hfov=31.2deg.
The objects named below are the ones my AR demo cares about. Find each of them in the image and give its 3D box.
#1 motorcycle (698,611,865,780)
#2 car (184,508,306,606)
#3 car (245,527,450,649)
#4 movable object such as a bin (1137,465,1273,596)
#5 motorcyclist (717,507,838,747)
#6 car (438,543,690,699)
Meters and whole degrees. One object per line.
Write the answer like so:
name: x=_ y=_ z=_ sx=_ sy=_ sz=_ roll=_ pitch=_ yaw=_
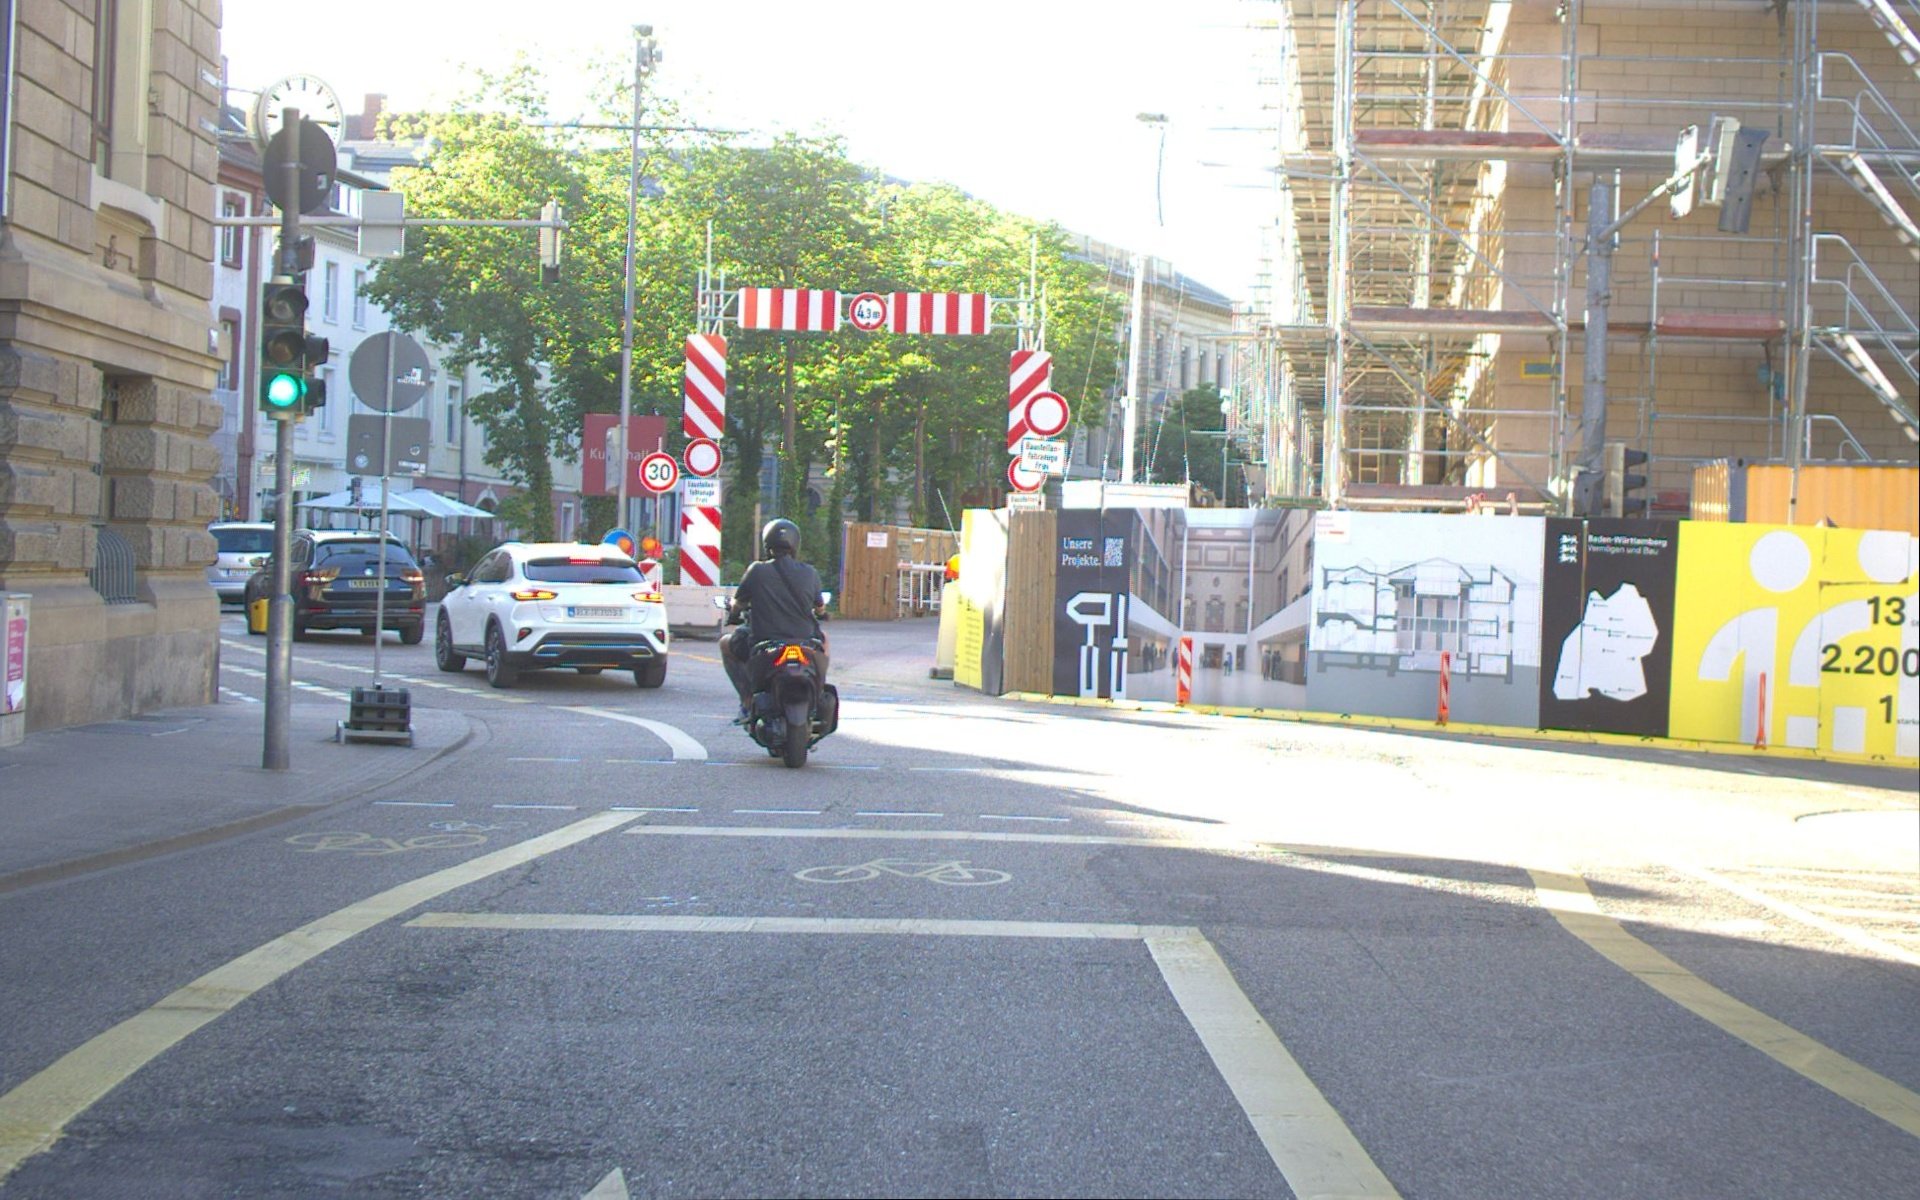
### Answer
motorcycle: x=-1.259 y=0.647 z=23.868 sx=0.796 sy=1.062 sz=1.726 roll=2 pitch=1 yaw=-14
car: x=-13.416 y=-0.819 z=64.686 sx=1.840 sy=1.707 sz=4.058 roll=2 pitch=1 yaw=-7
car: x=-8.212 y=-0.183 z=45.829 sx=1.840 sy=1.458 sz=4.059 roll=2 pitch=1 yaw=-22
movable object such as a bin: x=8.896 y=-2.464 z=124.076 sx=3.309 sy=4.524 sz=7.899 roll=1 pitch=1 yaw=16
motorcyclist: x=-1.289 y=0.182 z=24.148 sx=0.657 sy=1.645 sz=0.651 roll=2 pitch=1 yaw=-15
car: x=-4.326 y=0.190 z=37.003 sx=1.850 sy=1.475 sz=4.059 roll=2 pitch=1 yaw=-18
